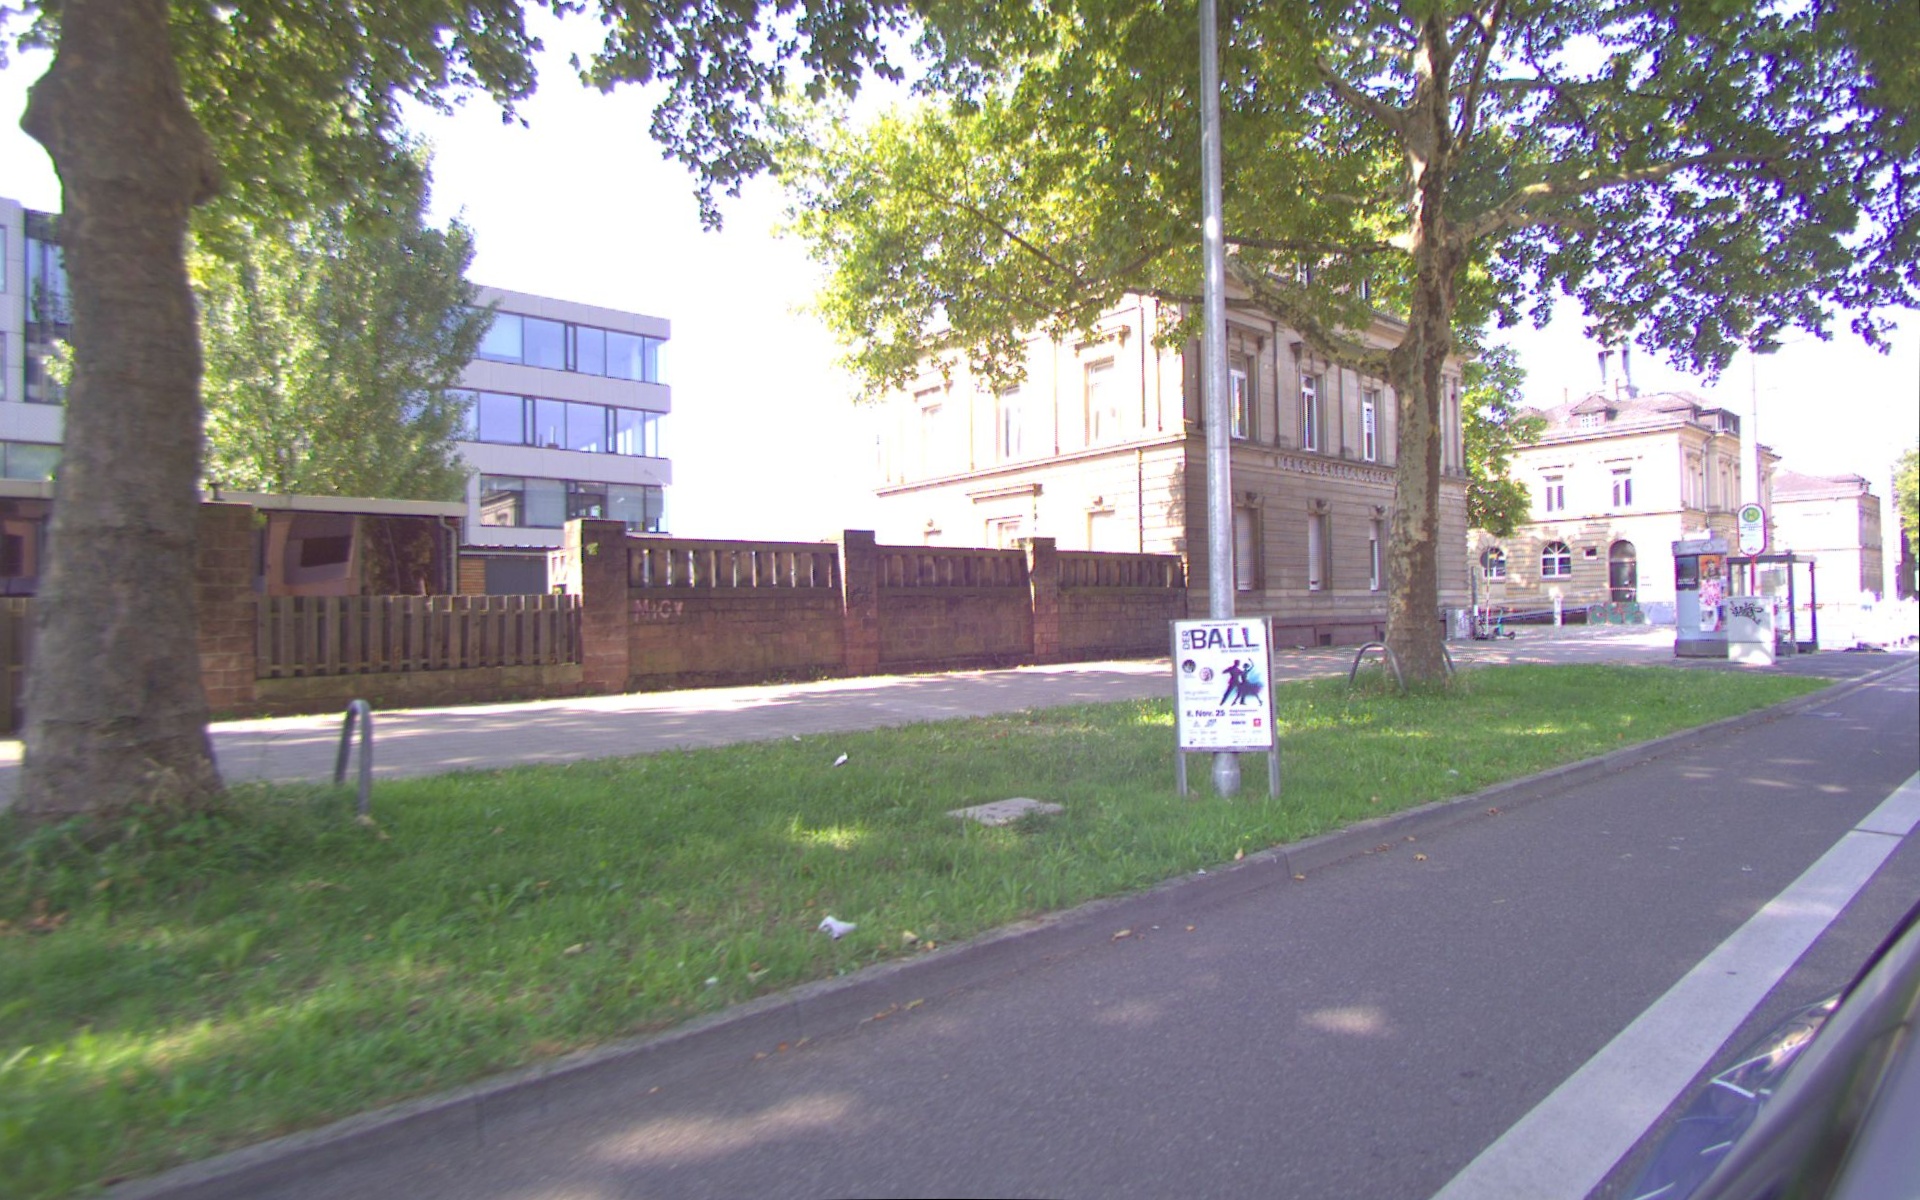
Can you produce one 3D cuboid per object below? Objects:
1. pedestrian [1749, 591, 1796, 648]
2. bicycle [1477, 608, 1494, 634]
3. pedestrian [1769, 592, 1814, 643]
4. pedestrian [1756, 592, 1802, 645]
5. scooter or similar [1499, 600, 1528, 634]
[{"bbox_3d":[20.116,0.487,25.069,0.601,1.383,0.751,-1,-2,-40],"label":"pedestrian"},{"bbox_3d":[20.744,0.839,39.919,0.489,1.013,1.797,-1,-3,31],"label":"bicycle"},{"bbox_3d":[21.275,0.445,25.904,0.601,1.277,0.742,-1,-2,-40],"label":"pedestrian"},{"bbox_3d":[20.619,0.469,25.491,0.601,1.277,0.742,-1,-2,-40],"label":"pedestrian"},{"bbox_3d":[20.970,0.643,38.337,1.150,1.244,0.427,0,-1,-33],"label":"scooter or similar"}]
